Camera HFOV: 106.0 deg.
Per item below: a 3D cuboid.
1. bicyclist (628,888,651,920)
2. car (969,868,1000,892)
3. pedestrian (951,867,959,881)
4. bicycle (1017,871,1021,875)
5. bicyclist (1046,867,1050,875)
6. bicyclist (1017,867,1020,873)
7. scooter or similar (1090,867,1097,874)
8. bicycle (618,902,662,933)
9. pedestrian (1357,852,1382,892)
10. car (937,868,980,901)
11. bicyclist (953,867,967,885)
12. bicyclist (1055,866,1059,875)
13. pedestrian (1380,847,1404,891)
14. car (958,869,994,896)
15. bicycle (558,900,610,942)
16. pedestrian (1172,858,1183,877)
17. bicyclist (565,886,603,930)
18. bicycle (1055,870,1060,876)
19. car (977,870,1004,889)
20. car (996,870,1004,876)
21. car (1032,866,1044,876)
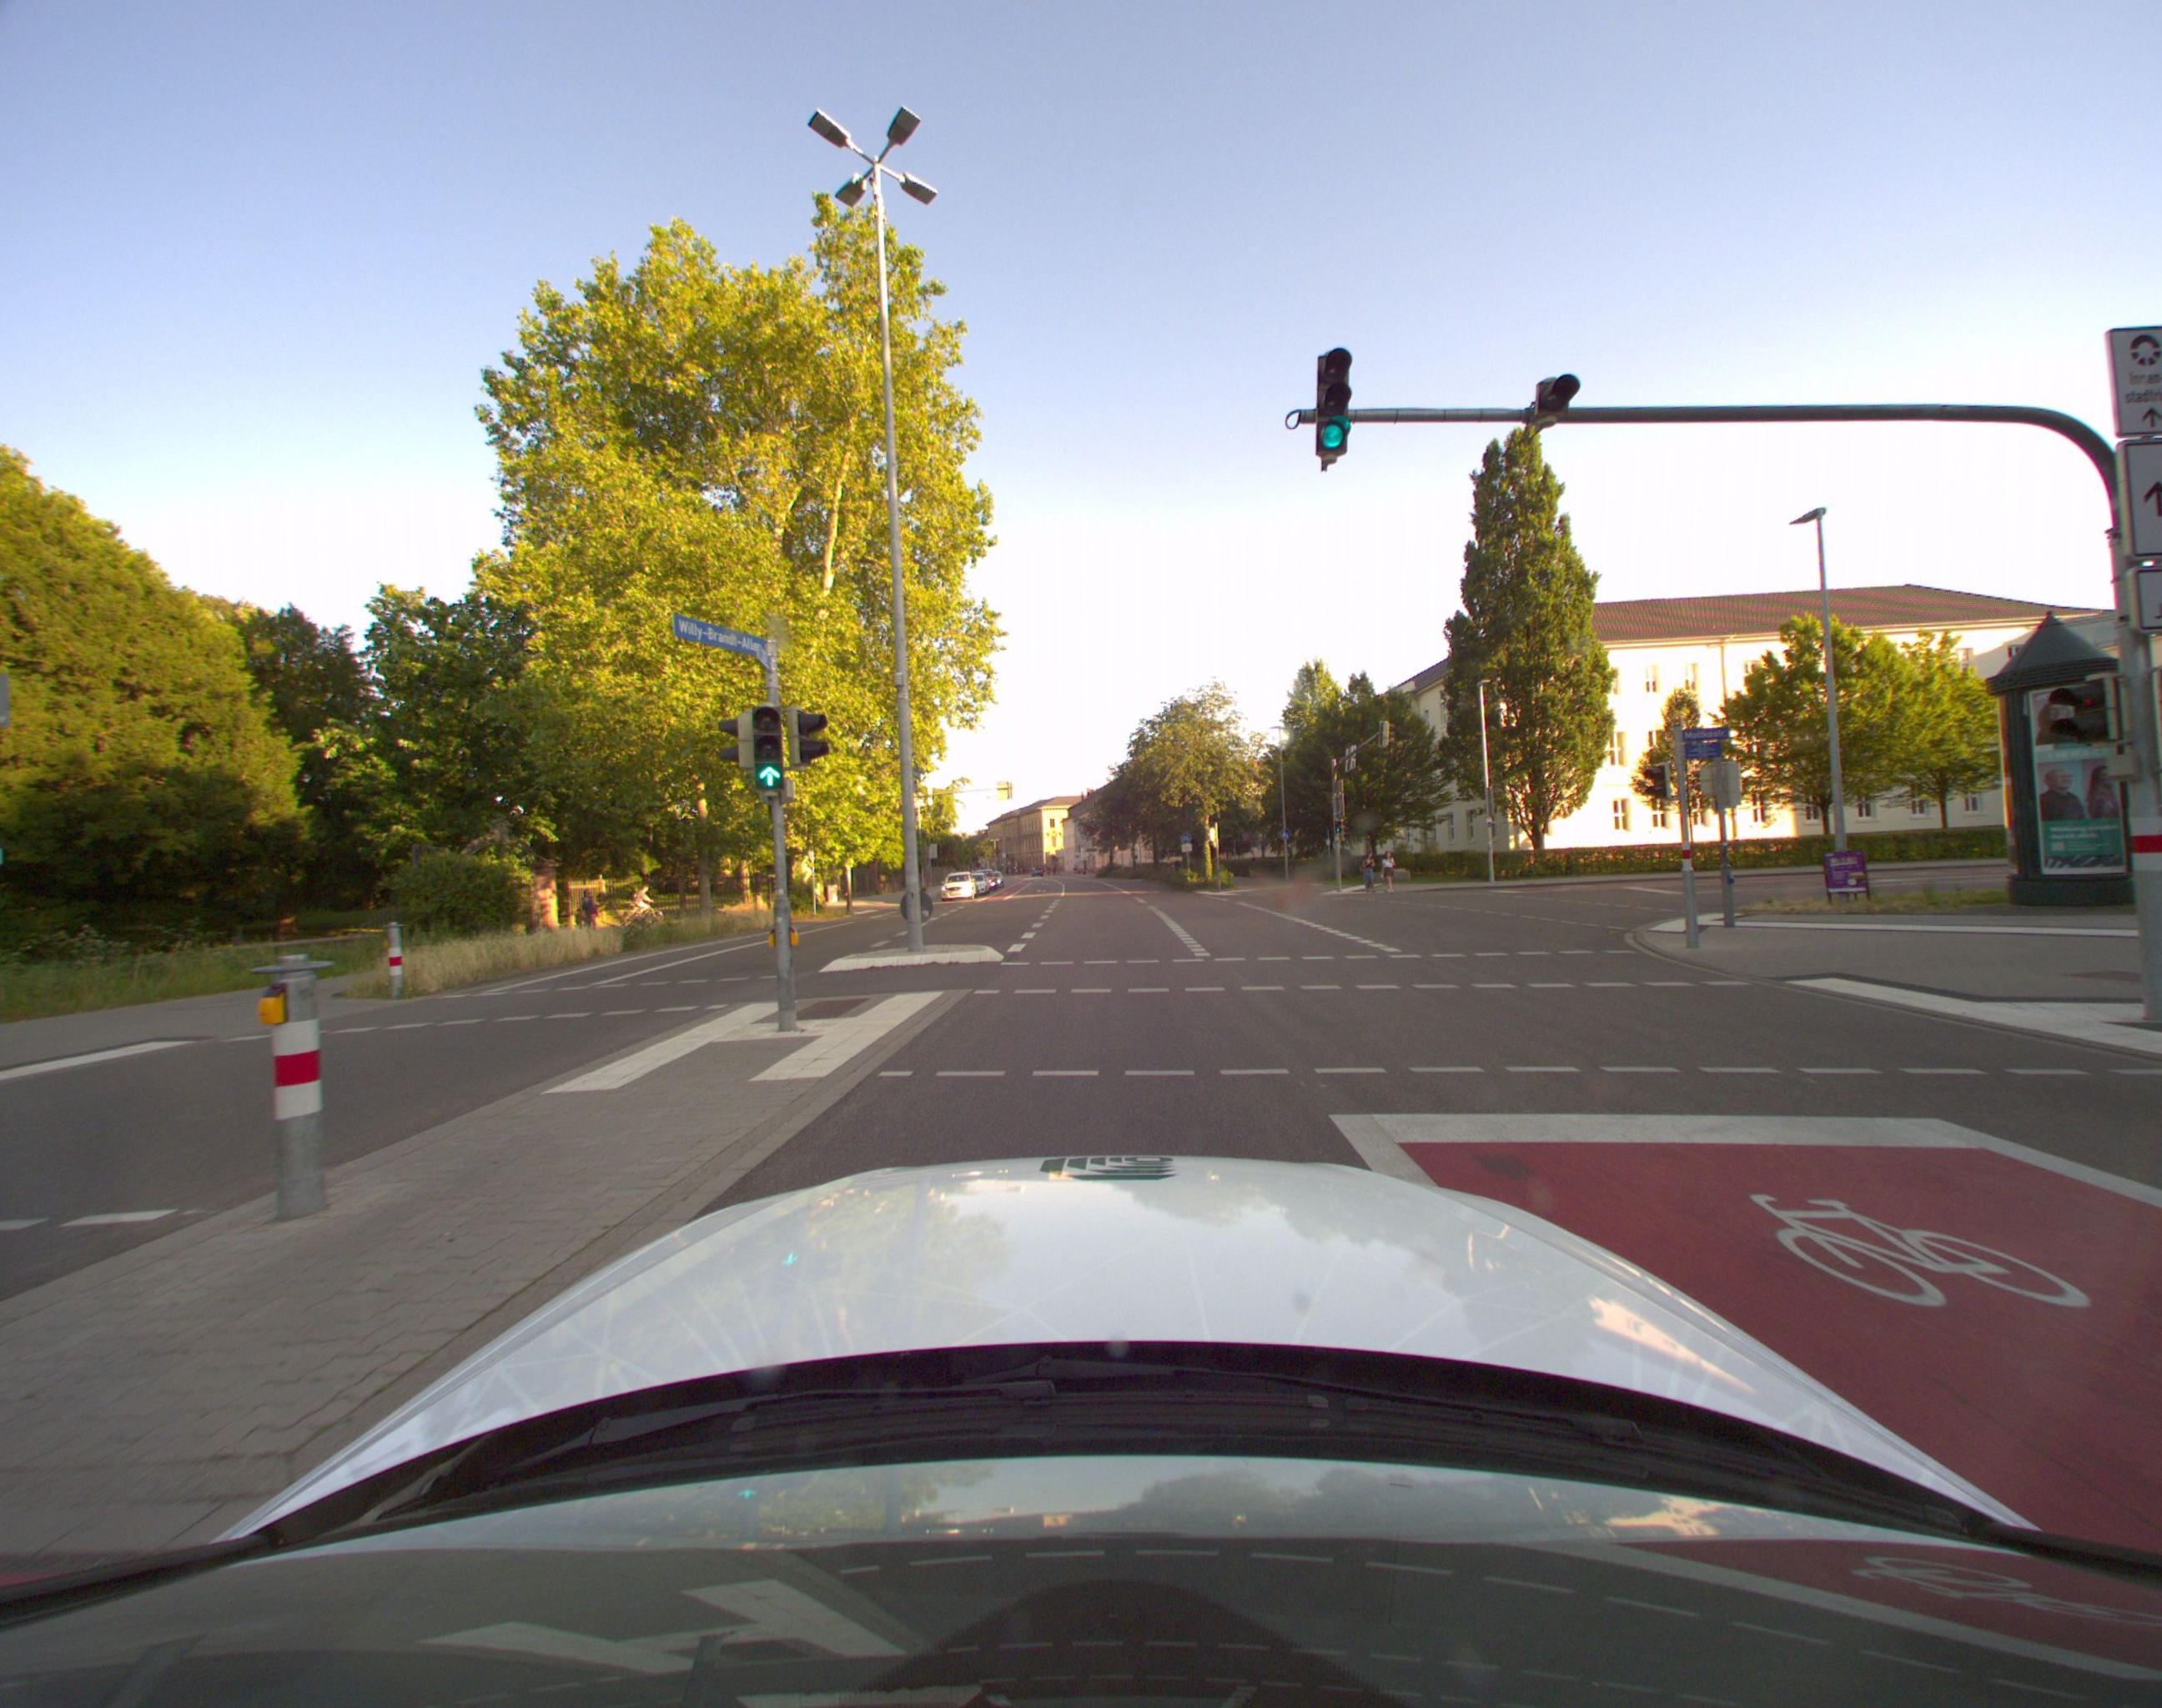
[{"bbox_3d":[-19.287,2.172,35.576,0.842,1.361,0.567,-2,-1,-32],"label":"bicyclist"},{"bbox_3d":[-7.496,2.028,63.757,1.912,1.624,4.634,-5,-1,-2],"label":"car"},{"bbox_3d":[-14.551,2.310,94.196,0.678,1.622,0.689,-3,-1,1],"label":"pedestrian"},{"bbox_3d":[-15.751,4.751,206.114,0.652,1.015,2.188,0,-1,-13],"label":"bicycle"},{"bbox_3d":[-5.805,2.966,143.165,0.651,1.446,0.877,0,-1,-5],"label":"bicyclist"},{"bbox_3d":[-15.749,4.077,206.108,0.652,1.698,0.953,0,-1,-13],"label":"bicyclist"},{"bbox_3d":[2.173,2.907,143.434,0.630,1.337,2.390,-2,-1,-12],"label":"scooter or similar"},{"bbox_3d":[-19.247,2.765,35.544,1.638,1.229,0.567,-2,-1,-32],"label":"bicycle"},{"bbox_3d":[12.001,0.730,33.852,0.678,1.622,0.845,-3,0,1],"label":"pedestrian"},{"bbox_3d":[-7.262,1.783,48.621,1.912,1.695,4.422,-5,-1,-2],"label":"car"},{"bbox_3d":[-9.887,1.819,66.608,0.852,1.431,0.944,-3,-1,2],"label":"bicyclist"},{"bbox_3d":[-4.155,2.891,143.152,0.651,1.475,0.939,0,-1,-5],"label":"bicyclist"},{"bbox_3d":[12.705,0.609,33.288,0.678,1.754,0.689,-3,0,1],"label":"pedestrian"},{"bbox_3d":[-7.071,1.906,55.355,1.912,1.583,4.669,-5,-1,-2],"label":"car"},{"bbox_3d":[-16.772,2.245,27.523,0.789,1.256,1.972,-3,-1,-11],"label":"bicycle"},{"bbox_3d":[9.297,1.283,78.375,0.769,1.739,0.805,-3,-1,-8],"label":"pedestrian"},{"bbox_3d":[-16.792,1.812,27.548,0.789,1.427,0.889,-3,-1,-11],"label":"bicyclist"},{"bbox_3d":[-4.153,3.355,143.137,0.651,1.015,2.194,0,-1,-4],"label":"bicycle"},{"bbox_3d":[-7.742,2.178,70.131,1.912,1.418,4.765,-5,-1,-2],"label":"car"},{"bbox_3d":[-21.349,5.046,214.398,1.915,1.418,4.756,-5,-1,-8],"label":"car"},{"bbox_3d":[-7.007,2.786,132.410,1.863,1.510,3.995,-2,-1,-3],"label":"car"}]
